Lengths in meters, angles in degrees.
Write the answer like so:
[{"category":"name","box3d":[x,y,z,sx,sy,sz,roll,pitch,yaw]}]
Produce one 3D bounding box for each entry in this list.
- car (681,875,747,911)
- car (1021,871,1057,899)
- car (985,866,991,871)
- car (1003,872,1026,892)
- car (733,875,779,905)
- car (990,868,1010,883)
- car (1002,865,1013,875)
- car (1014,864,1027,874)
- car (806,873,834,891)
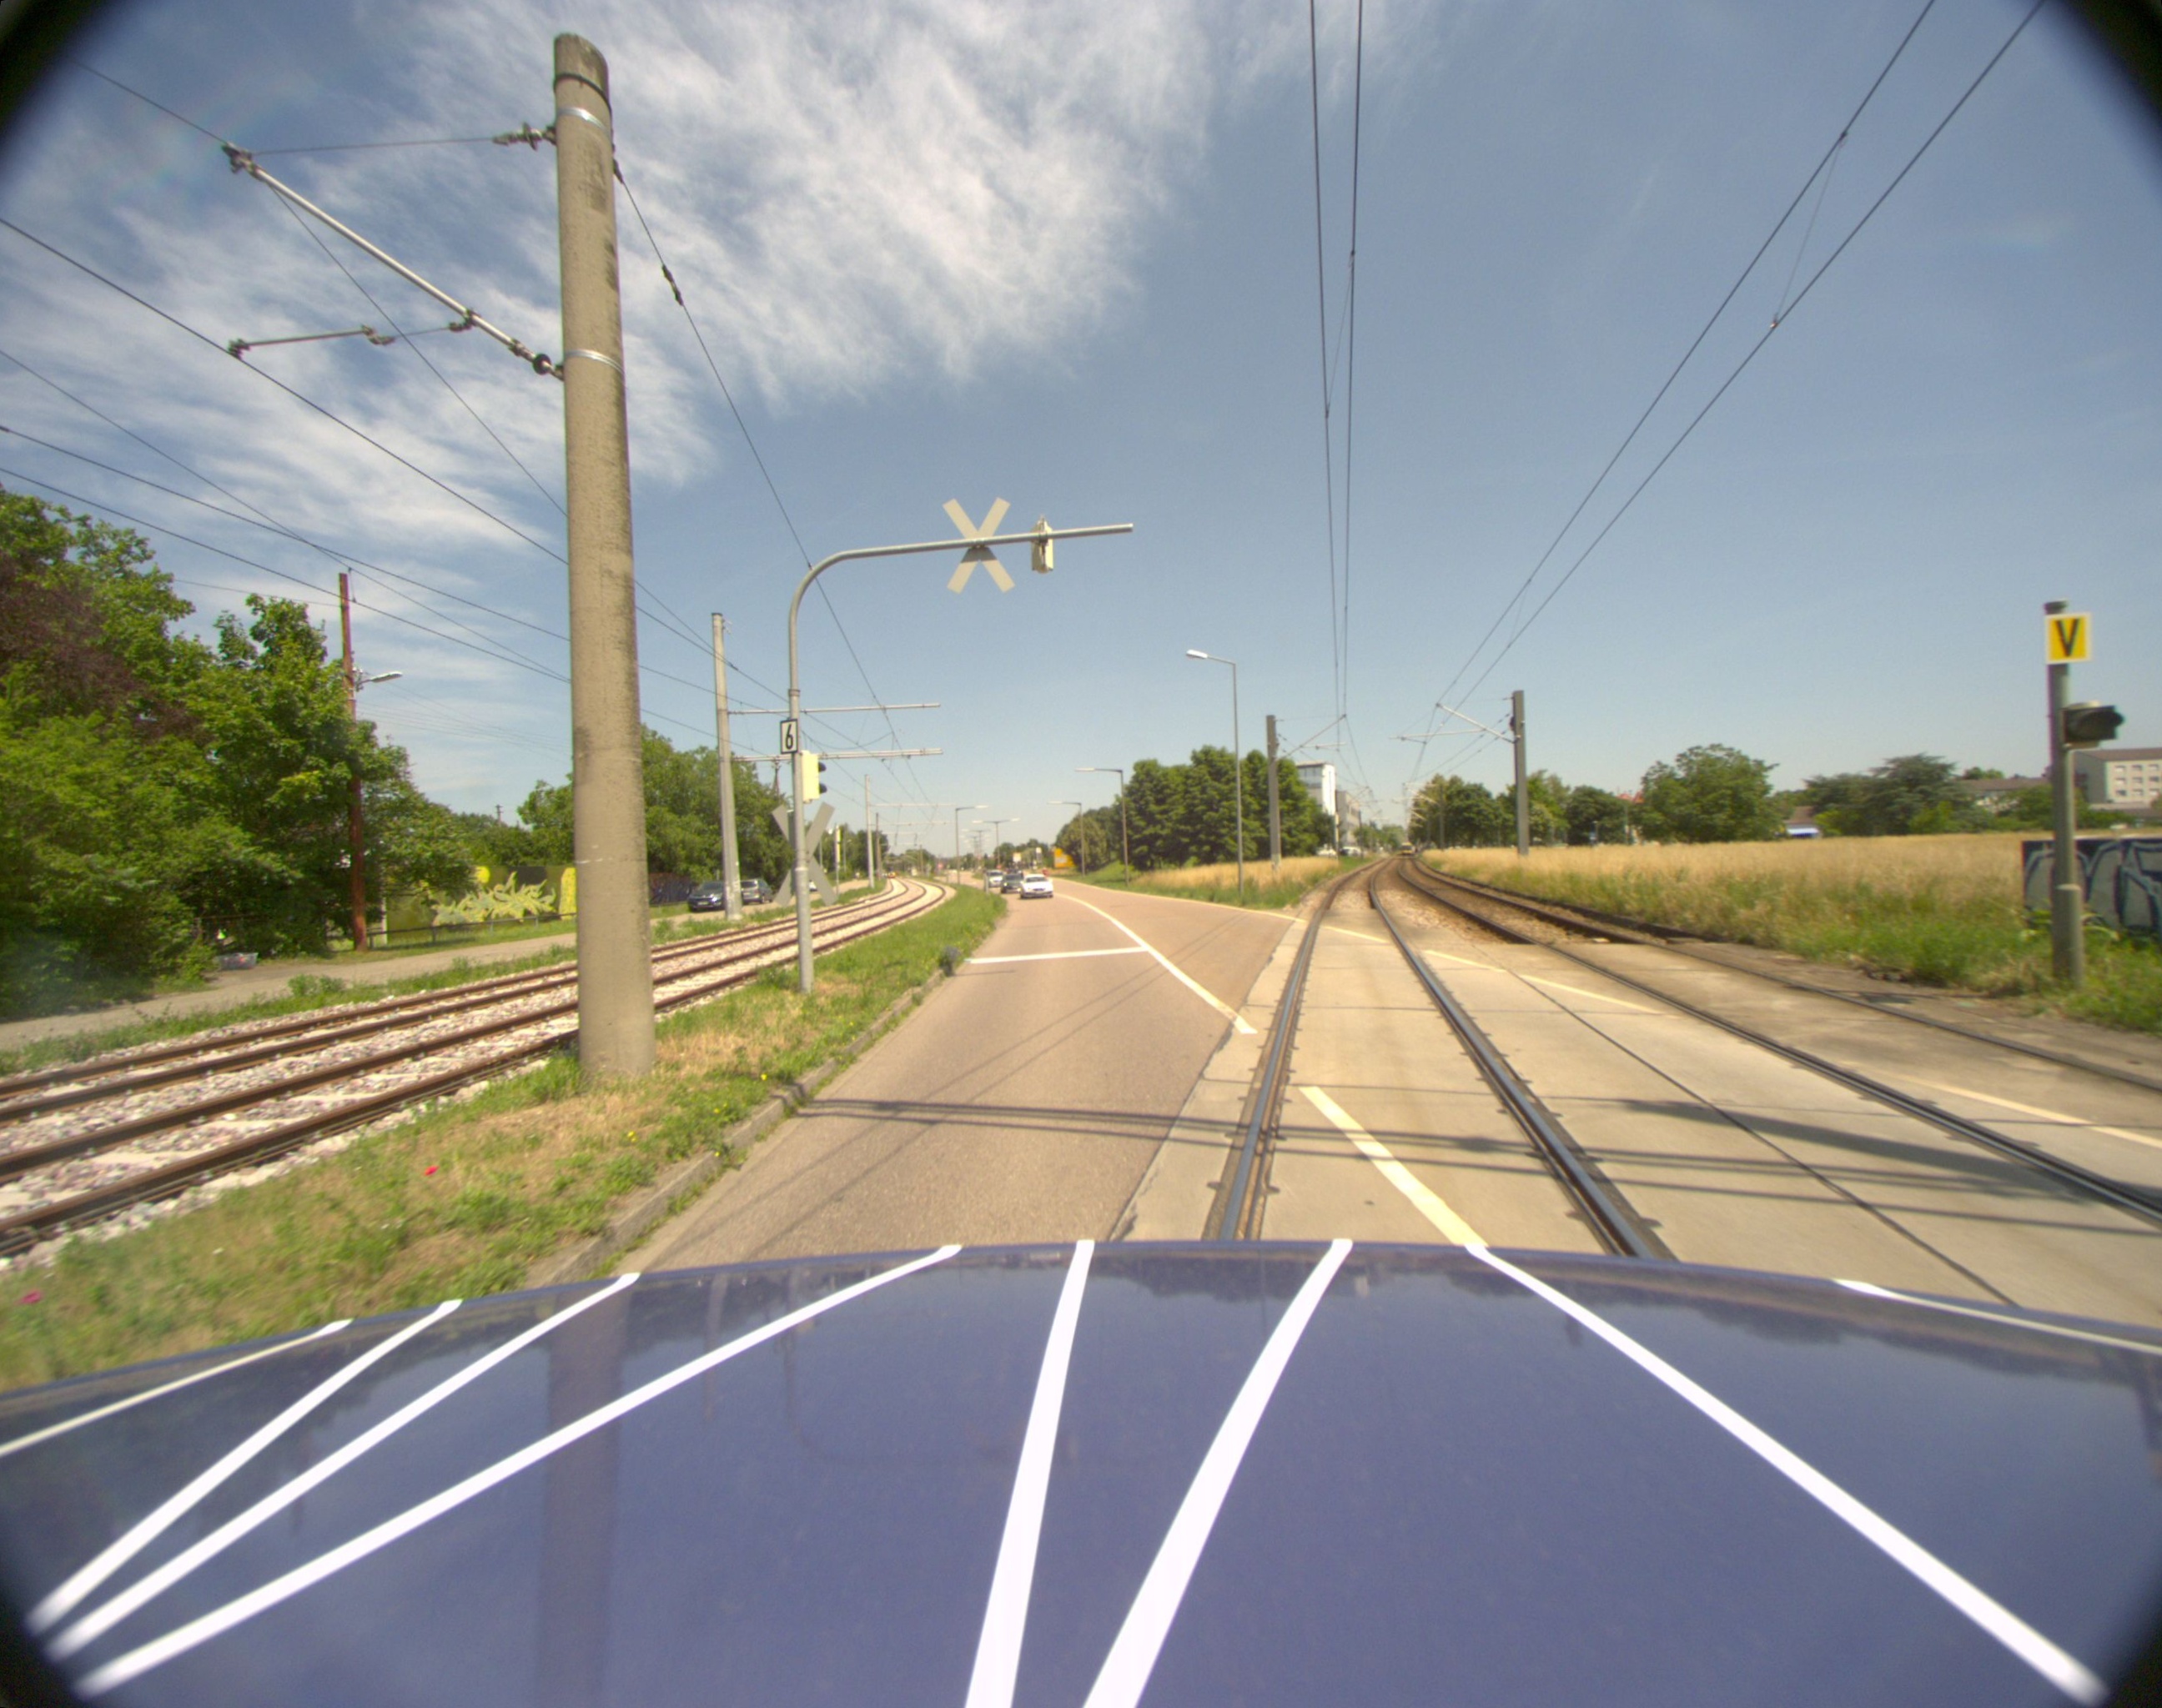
[{"category":"car","box3d":[-20.212,2.120,42.076,1.834,1.647,4.811,-2,1,-8]},{"category":"car","box3d":[-2.632,1.876,46.767,1.773,1.434,4.125,-2,1,-9]},{"category":"car","box3d":[-31.620,4.942,257.287,1.620,1.386,3.597,-2,1,-12]},{"category":"car","box3d":[-5.386,2.218,61.337,1.511,1.423,3.355,-2,1,-11]},{"category":"car","box3d":[-20.571,2.244,48.278,1.682,1.615,4.706,-2,1,-11]},{"category":"car","box3d":[-8.984,2.347,83.897,1.811,1.465,3.508,-2,0,-12]},{"category":"car","box3d":[-13.430,2.876,138.857,1.827,1.563,4.109,-2,1,-7]},{"category":"car","box3d":[-9.921,2.448,125.194,1.832,1.592,4.482,-3,-1,-8]},{"category":"car","box3d":[-24.486,2.601,71.394,1.686,1.406,4.545,-2,1,-10]}]
